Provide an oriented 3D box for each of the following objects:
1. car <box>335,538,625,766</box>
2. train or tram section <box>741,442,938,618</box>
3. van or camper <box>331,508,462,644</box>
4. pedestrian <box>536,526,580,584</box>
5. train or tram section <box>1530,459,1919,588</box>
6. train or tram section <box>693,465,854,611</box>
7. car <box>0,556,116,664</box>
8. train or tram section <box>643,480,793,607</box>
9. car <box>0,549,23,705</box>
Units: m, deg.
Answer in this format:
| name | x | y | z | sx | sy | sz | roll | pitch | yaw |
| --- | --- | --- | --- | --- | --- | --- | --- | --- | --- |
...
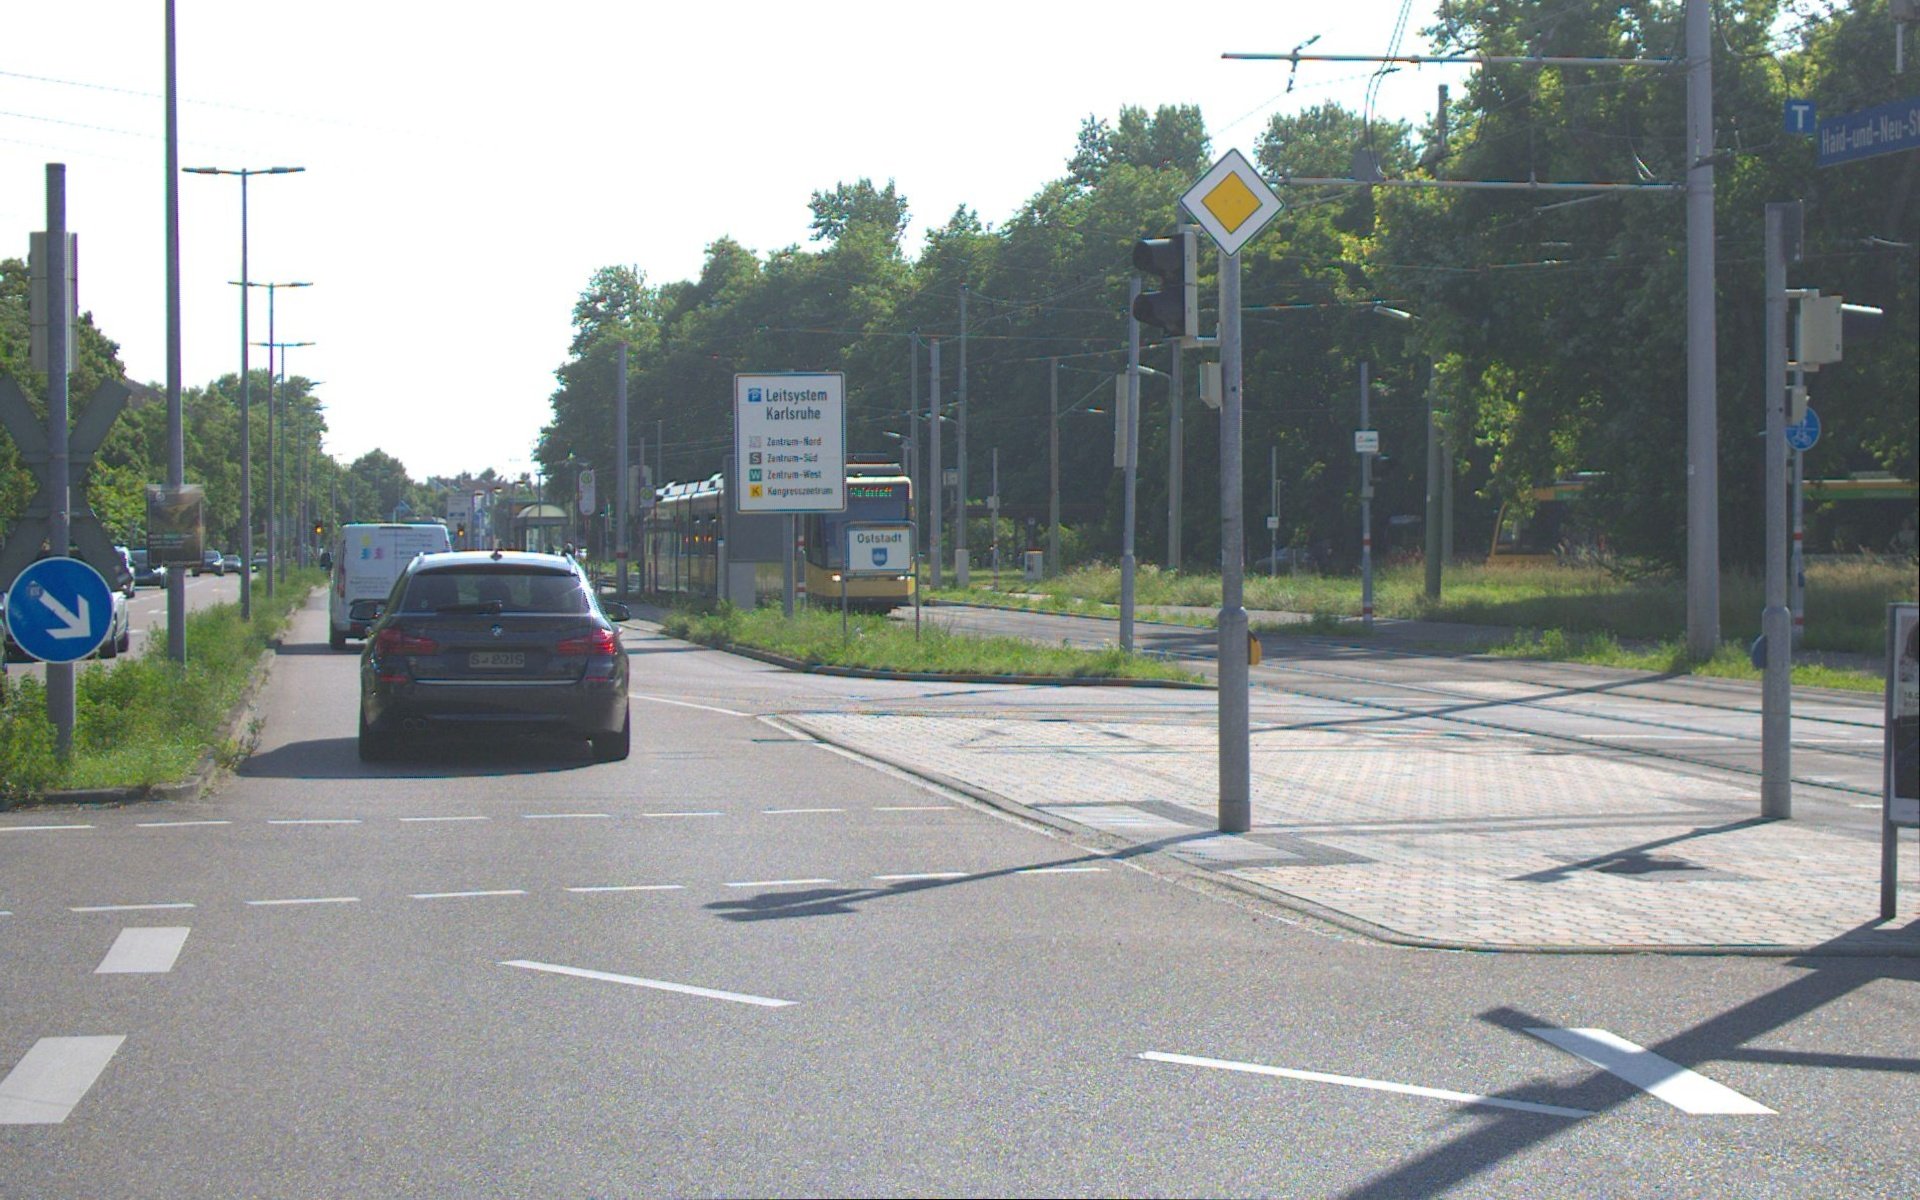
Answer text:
| name | x | y | z | sx | sy | sz | roll | pitch | yaw |
| --- | --- | --- | --- | --- | --- | --- | --- | --- | --- |
| car | -3.461 | 0.308 | 24.840 | 1.903 | 1.500 | 4.066 | 0 | 1 | -8 |
| train or tram section | -2.893 | -1.481 | 77.487 | 2.795 | 3.606 | 12.959 | 0 | 0 | -9 |
| van or camper | -9.095 | -0.414 | 55.273 | 1.993 | 2.089 | 4.600 | 0 | 1 | -10 |
| pedestrian | -11.399 | -1.286 | 97.479 | 0.999 | 1.629 | 0.720 | 0 | 1 | 24 |
| train or tram section | 22.789 | -2.154 | 98.438 | 12.411 | 3.567 | 3.051 | 0 | 1 | 20 |
| train or tram section | -4.968 | -1.544 | 89.413 | 2.749 | 3.542 | 11.259 | 0 | 0 | -10 |
| car | -13.512 | 0.104 | 50.368 | 1.848 | 1.472 | 4.647 | 0 | 1 | -9 |
| train or tram section | -7.348 | -1.608 | 102.233 | 2.684 | 3.469 | 14.973 | 0 | 0 | -11 |
| car | -9.877 | 0.267 | 32.064 | 1.828 | 1.430 | 4.382 | -1 | 1 | -11 |
